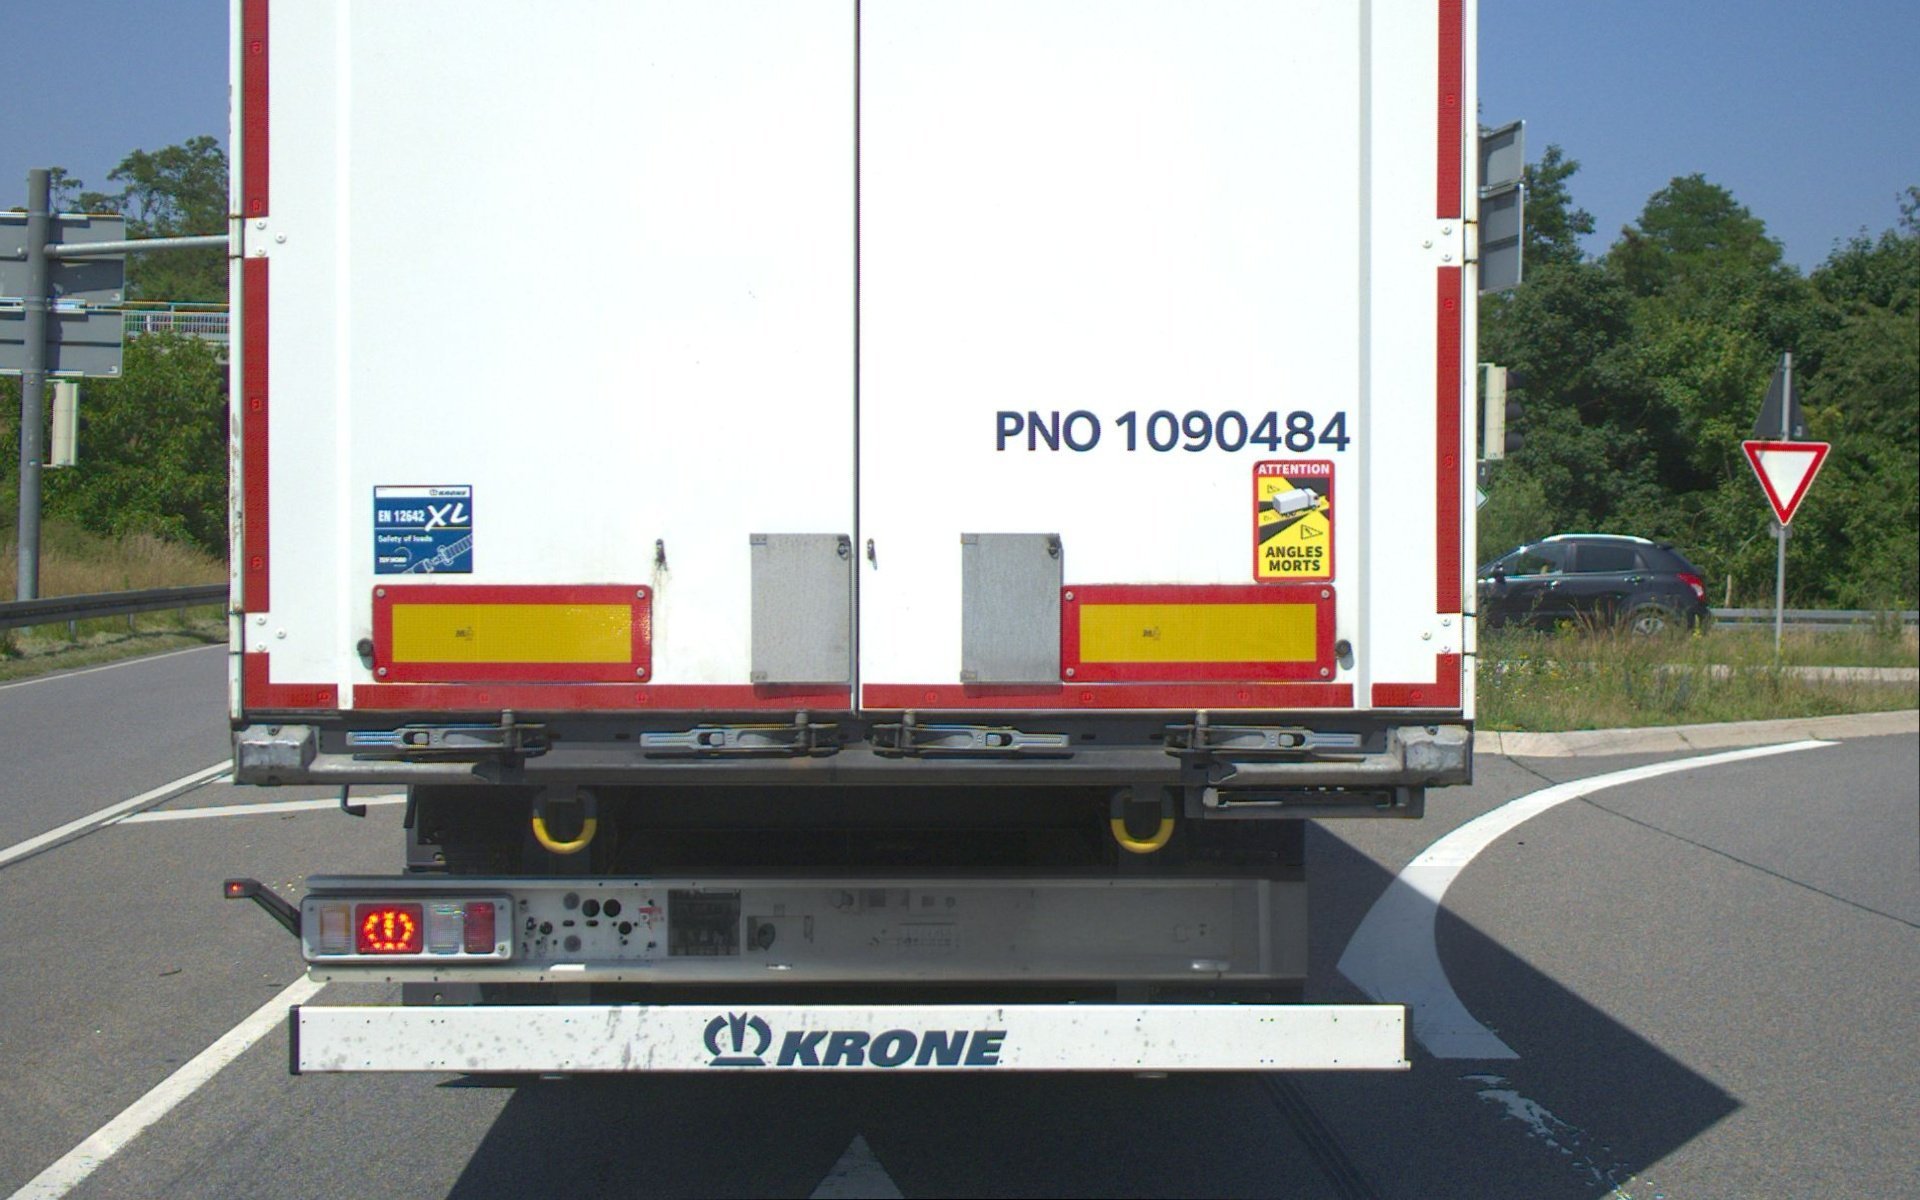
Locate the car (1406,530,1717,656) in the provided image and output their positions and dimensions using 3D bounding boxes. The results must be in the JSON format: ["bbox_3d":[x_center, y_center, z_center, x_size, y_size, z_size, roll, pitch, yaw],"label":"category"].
[{"bbox_3d":[8.095,-0.100,46.542,3.986,1.634,1.841,1,0,5],"label":"car"}]

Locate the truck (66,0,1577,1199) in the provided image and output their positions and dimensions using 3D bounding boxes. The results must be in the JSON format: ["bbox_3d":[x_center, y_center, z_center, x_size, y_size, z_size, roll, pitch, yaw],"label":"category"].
[{"bbox_3d":[-0.371,-0.658,11.778,2.987,3.928,9.876,1,1,-1],"label":"truck"}]
